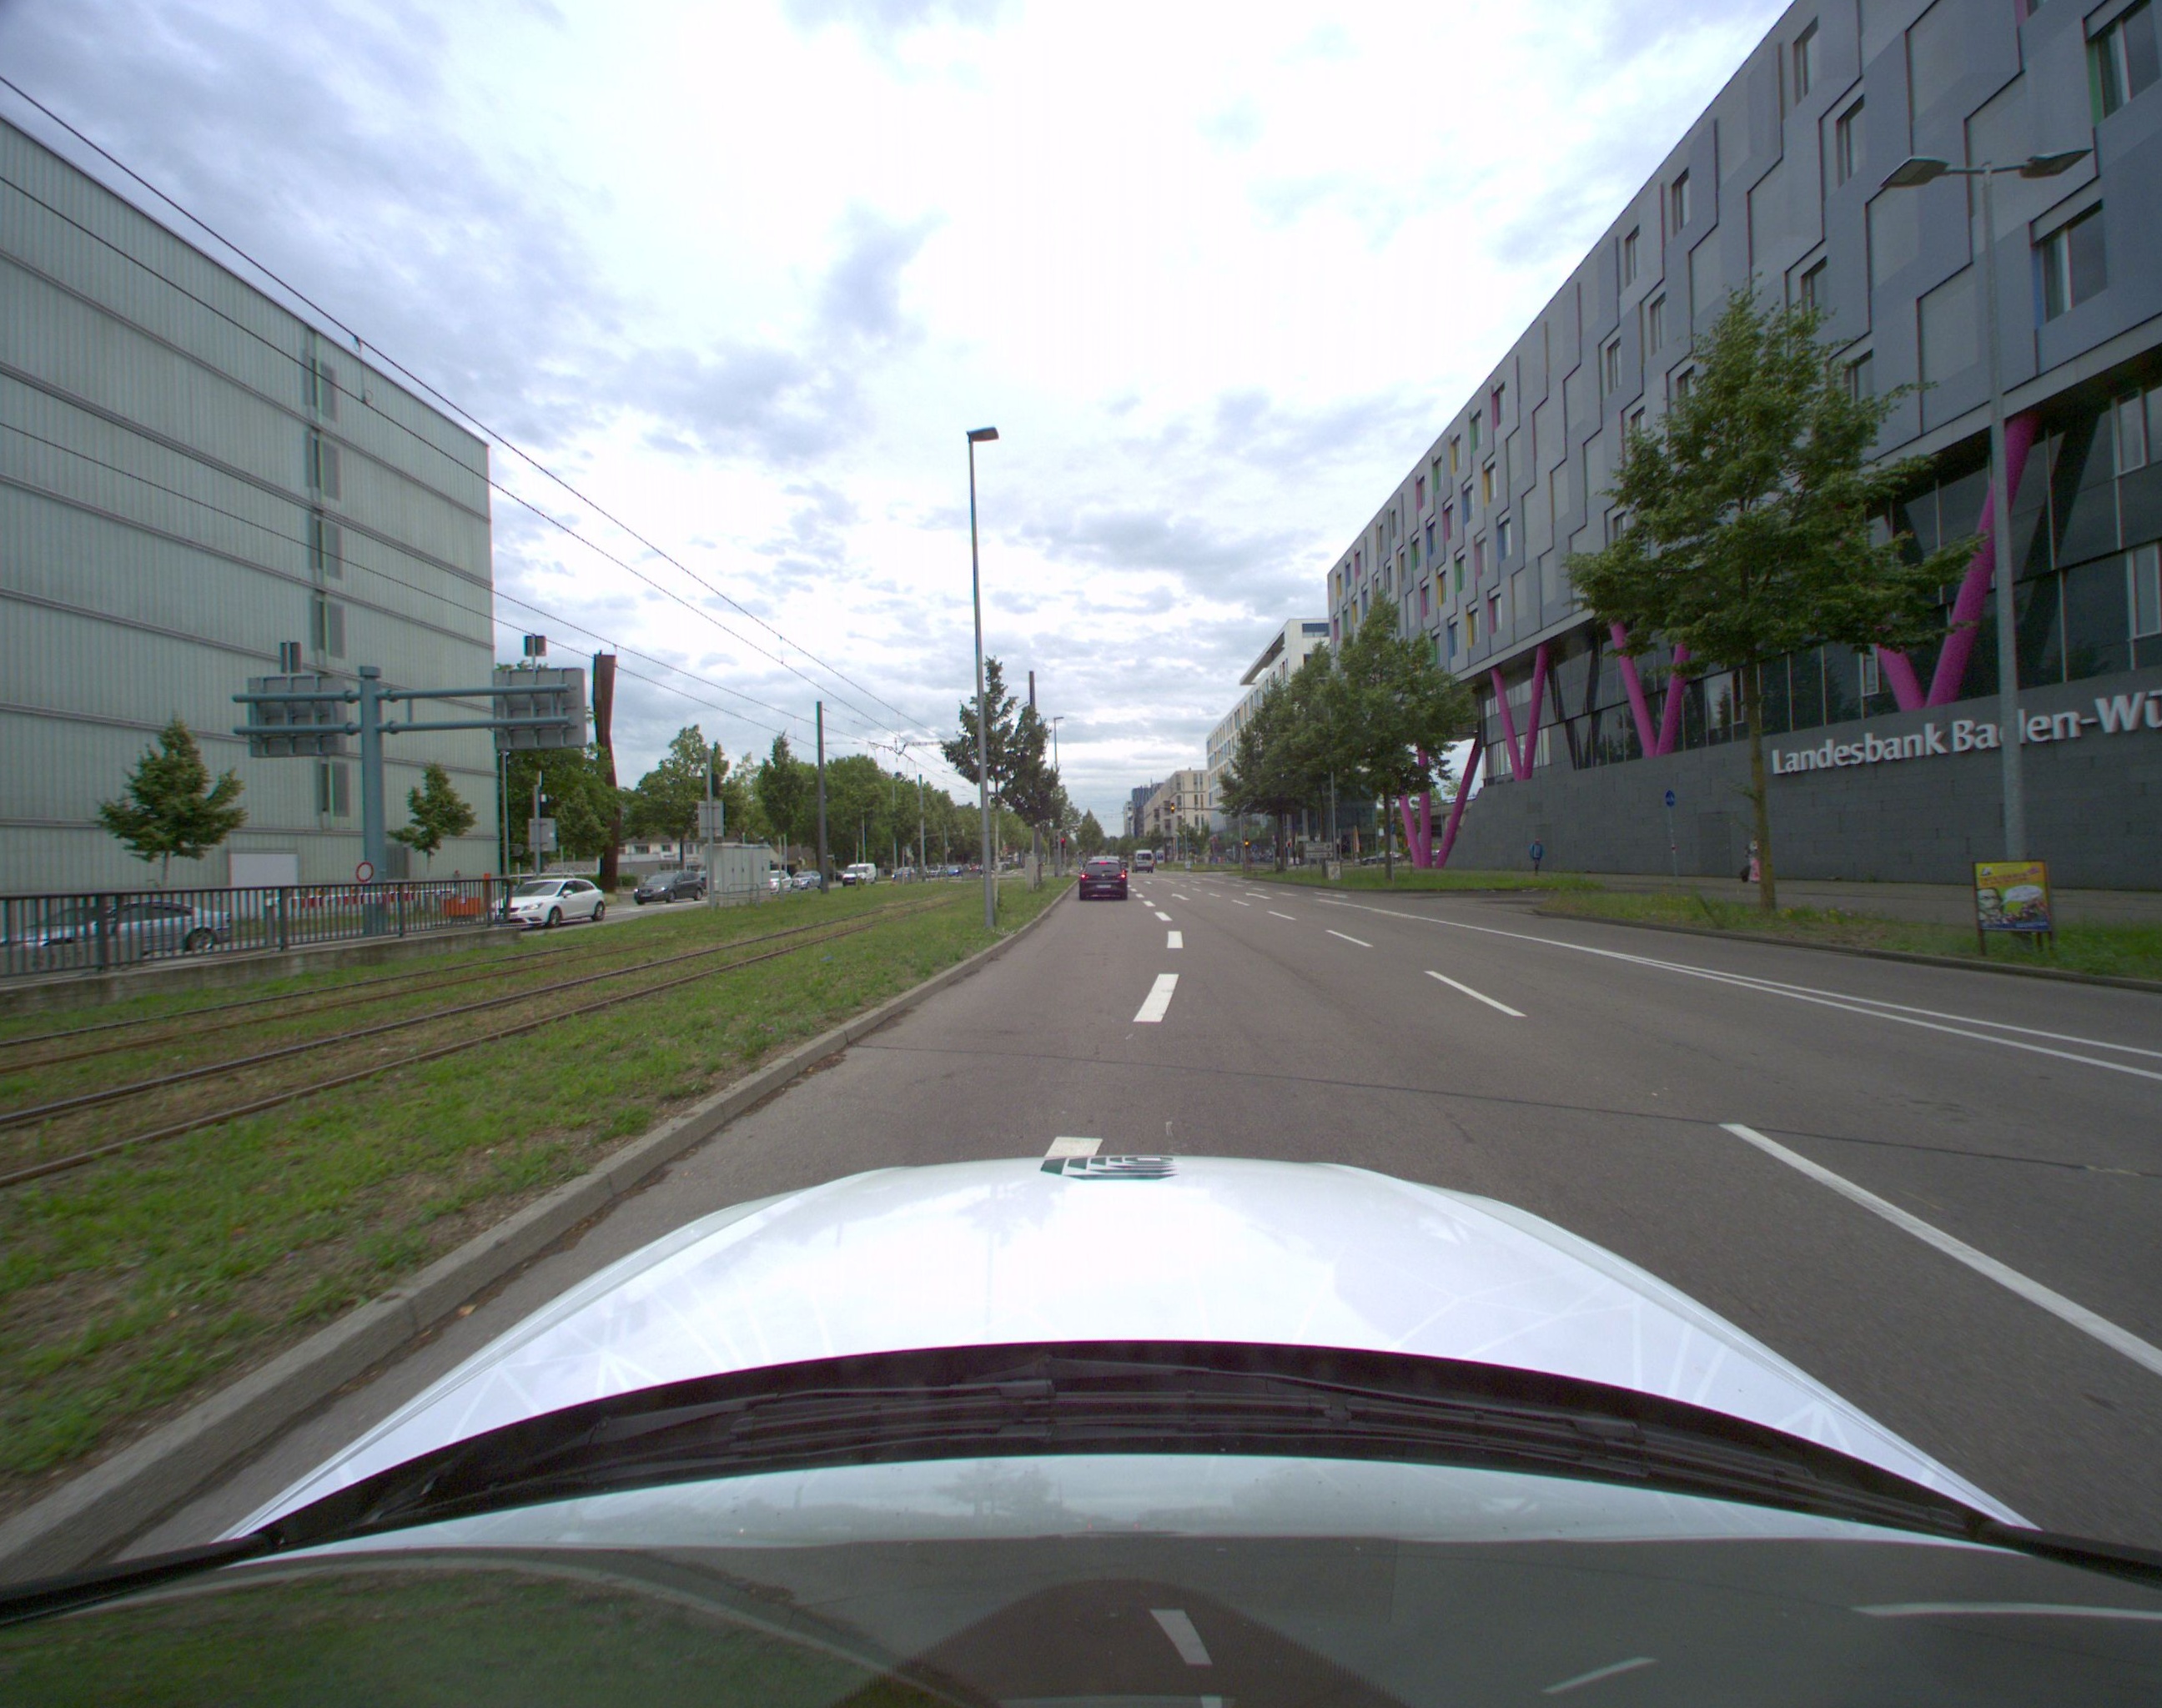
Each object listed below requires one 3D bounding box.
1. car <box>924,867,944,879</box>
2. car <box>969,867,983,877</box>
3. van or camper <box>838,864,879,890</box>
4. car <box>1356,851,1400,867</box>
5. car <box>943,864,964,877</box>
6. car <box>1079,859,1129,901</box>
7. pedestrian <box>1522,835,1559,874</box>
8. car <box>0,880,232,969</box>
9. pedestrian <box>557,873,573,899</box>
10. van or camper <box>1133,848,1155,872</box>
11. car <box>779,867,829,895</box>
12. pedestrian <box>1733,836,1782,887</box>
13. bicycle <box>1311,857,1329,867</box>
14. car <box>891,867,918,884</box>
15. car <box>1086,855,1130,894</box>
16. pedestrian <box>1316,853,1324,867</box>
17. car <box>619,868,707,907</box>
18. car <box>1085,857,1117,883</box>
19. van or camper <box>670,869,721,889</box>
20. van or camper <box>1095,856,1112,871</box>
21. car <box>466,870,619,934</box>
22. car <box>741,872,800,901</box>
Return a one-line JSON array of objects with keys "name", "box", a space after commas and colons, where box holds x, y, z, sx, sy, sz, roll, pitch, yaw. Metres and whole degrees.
[{"name": "car", "box": [-19.564, 2.484, 108.463, 1.791, 1.571, 4.577, 1, -1, 0]}, {"name": "car", "box": [-18.683, 3.173, 144.837, 1.789, 1.570, 4.330, -2, 0, 3]}, {"name": "van or camper", "box": [-18.158, 1.851, 66.803, 1.883, 1.900, 5.124, -3, 0, 0]}, {"name": "car", "box": [32.328, 0.556, 88.725, 4.233, 1.615, 1.759, -2, 0, 3]}, {"name": "car", "box": [-16.459, 2.133, 105.584, 1.958, 1.588, 4.687, -1, 0, 0]}, {"name": "car", "box": [0.829, 0.925, 30.316, 1.738, 1.417, 4.000, 0, 0, 1]}, {"name": "pedestrian", "box": [21.670, 0.037, 38.430, 1.047, 1.770, 1.137, -2, 0, 2]}, {"name": "car", "box": [-22.937, 1.534, 18.655, 1.986, 1.666, 4.649, -2, 0, 2]}, {"name": "pedestrian", "box": [-41.532, 2.562, 65.554, 0.910, 2.014, 0.942, -1, -1, -41]}, {"name": "van or camper", "box": [6.815, 0.620, 88.656, 2.101, 2.356, 4.926, -1, 1, 2]}, {"name": "car", "box": [-22.035, 2.122, 64.976, 1.986, 2.013, 5.297, -2, 0, 2]}, {"name": "pedestrian", "box": [21.866, 0.241, 26.339, 0.781, 1.582, 0.915, -2, 0, 2]}, {"name": "bicycle", "box": [26.581, 0.917, 90.700, 1.784, 1.085, 0.618, -2, -1, 3]}, {"name": "car", "box": [-17.643, 2.129, 81.559, 1.724, 1.445, 4.917, -4, 0, -3]}, {"name": "car", "box": [1.189, 0.883, 36.537, 1.796, 1.624, 4.001, -2, 0, 1]}, {"name": "pedestrian", "box": [26.617, 0.653, 90.698, 0.612, 1.604, 0.619, -2, -1, 4]}, {"name": "car", "box": [-22.478, 1.746, 44.022, 1.986, 1.823, 4.969, -2, 0, 2]}, {"name": "car", "box": [1.372, 1.065, 55.224, 1.985, 1.682, 4.004, -1, 0, 4]}, {"name": "van or camper", "box": [-41.144, 2.697, 86.840, 5.212, 2.014, 2.481, -2, -1, 33]}, {"name": "van or camper", "box": [2.823, 1.146, 100.414, 1.986, 1.615, 4.791, -1, 1, 2]}, {"name": "car", "box": [-15.990, 1.356, 24.506, 1.991, 1.586, 4.369, -2, 0, -7]}, {"name": "car", "box": [-17.821, 1.830, 46.971, 1.758, 1.479, 4.568, -3, 0, -3]}]
